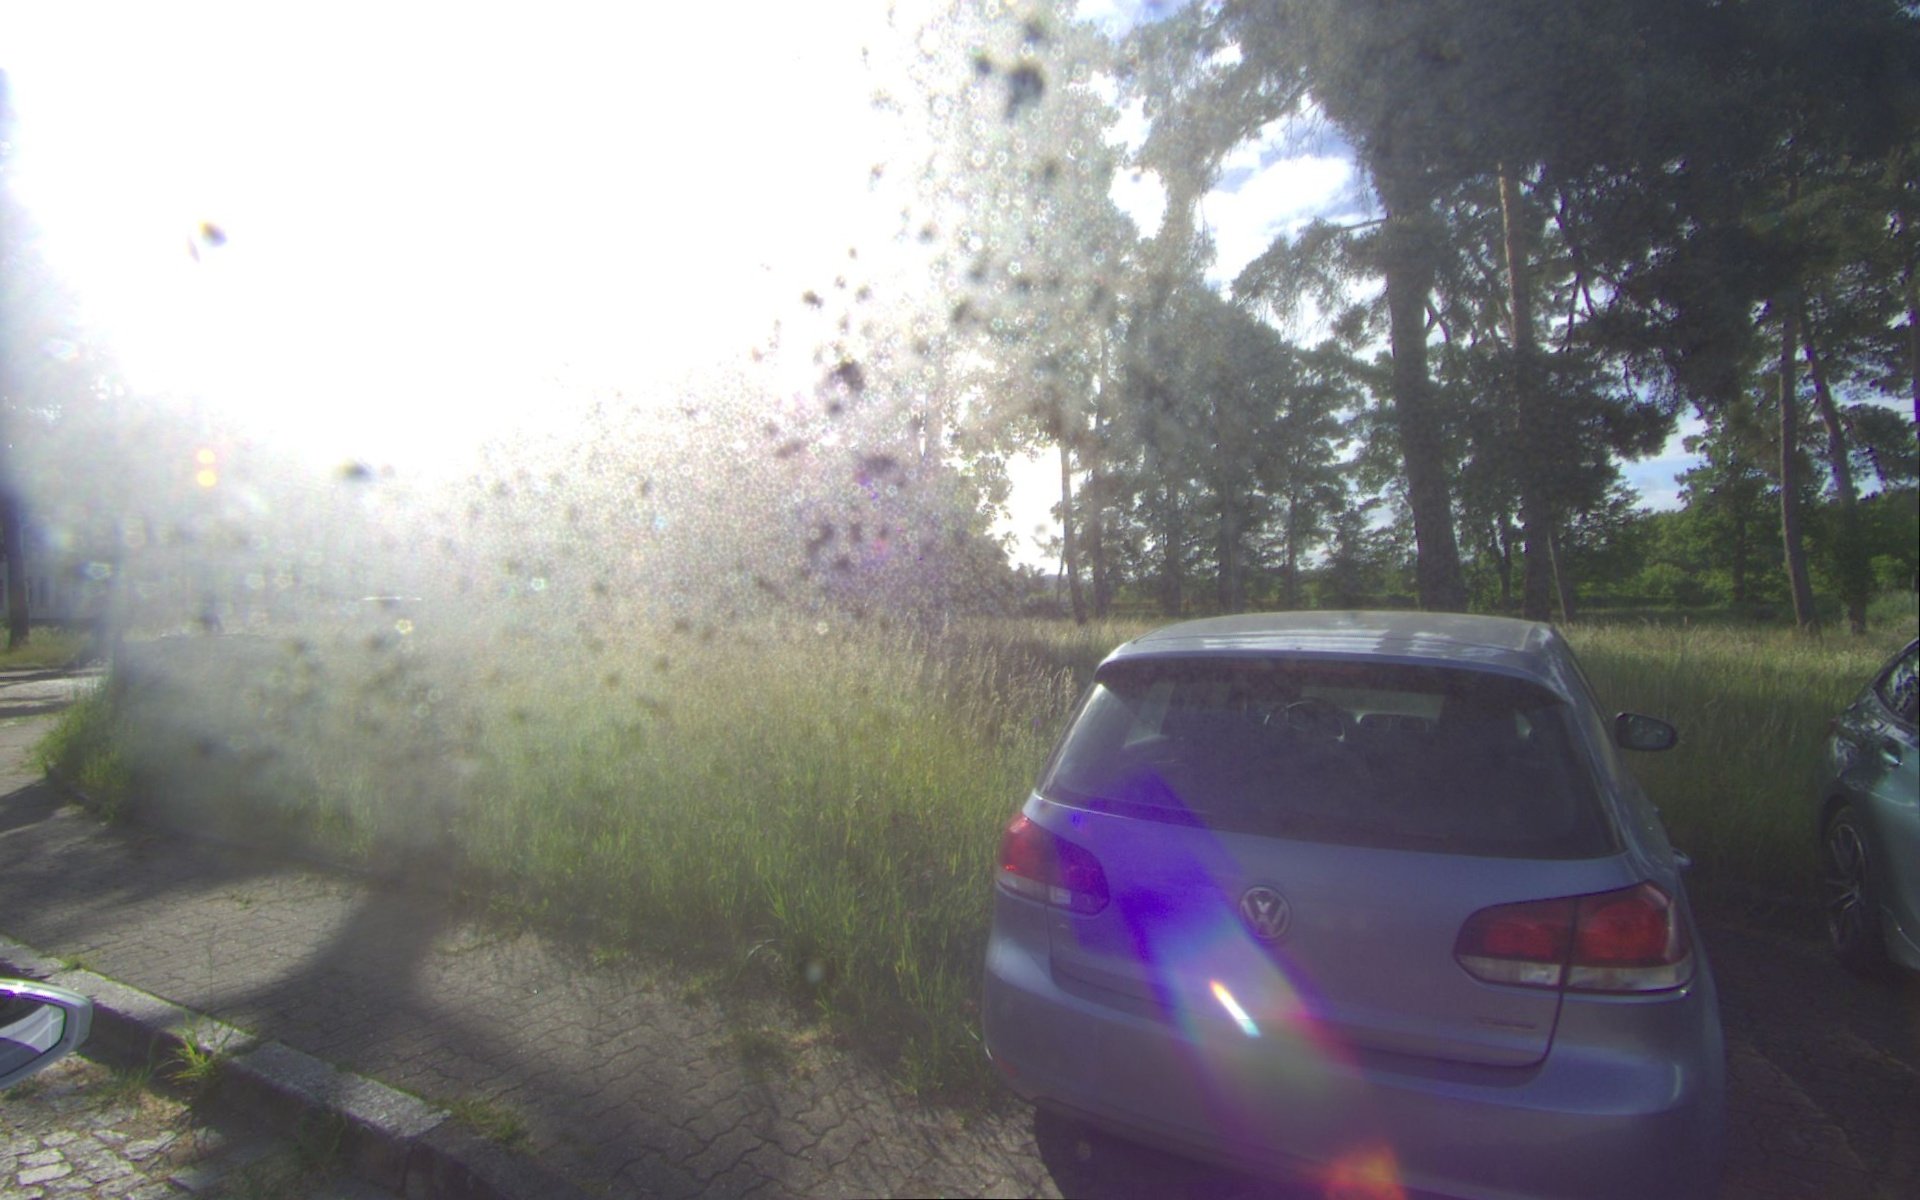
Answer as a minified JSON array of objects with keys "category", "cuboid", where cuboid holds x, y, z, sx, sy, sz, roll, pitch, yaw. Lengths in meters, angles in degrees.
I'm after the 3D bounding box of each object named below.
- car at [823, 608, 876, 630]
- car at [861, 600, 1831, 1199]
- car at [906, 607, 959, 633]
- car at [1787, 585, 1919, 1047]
[{"category":"car","cuboid":[-7.755,1.337,70.685,1.818,1.483,3.985,0,0,27]},{"category":"car","cuboid":[1.554,0.762,3.757,1.843,1.480,4.009,0,0,30]},{"category":"car","cuboid":[-1.807,1.303,66.274,1.826,1.620,3.985,0,0,27]},{"category":"car","cuboid":[3.705,0.729,2.347,1.797,1.537,4.490,0,1,27]}]
